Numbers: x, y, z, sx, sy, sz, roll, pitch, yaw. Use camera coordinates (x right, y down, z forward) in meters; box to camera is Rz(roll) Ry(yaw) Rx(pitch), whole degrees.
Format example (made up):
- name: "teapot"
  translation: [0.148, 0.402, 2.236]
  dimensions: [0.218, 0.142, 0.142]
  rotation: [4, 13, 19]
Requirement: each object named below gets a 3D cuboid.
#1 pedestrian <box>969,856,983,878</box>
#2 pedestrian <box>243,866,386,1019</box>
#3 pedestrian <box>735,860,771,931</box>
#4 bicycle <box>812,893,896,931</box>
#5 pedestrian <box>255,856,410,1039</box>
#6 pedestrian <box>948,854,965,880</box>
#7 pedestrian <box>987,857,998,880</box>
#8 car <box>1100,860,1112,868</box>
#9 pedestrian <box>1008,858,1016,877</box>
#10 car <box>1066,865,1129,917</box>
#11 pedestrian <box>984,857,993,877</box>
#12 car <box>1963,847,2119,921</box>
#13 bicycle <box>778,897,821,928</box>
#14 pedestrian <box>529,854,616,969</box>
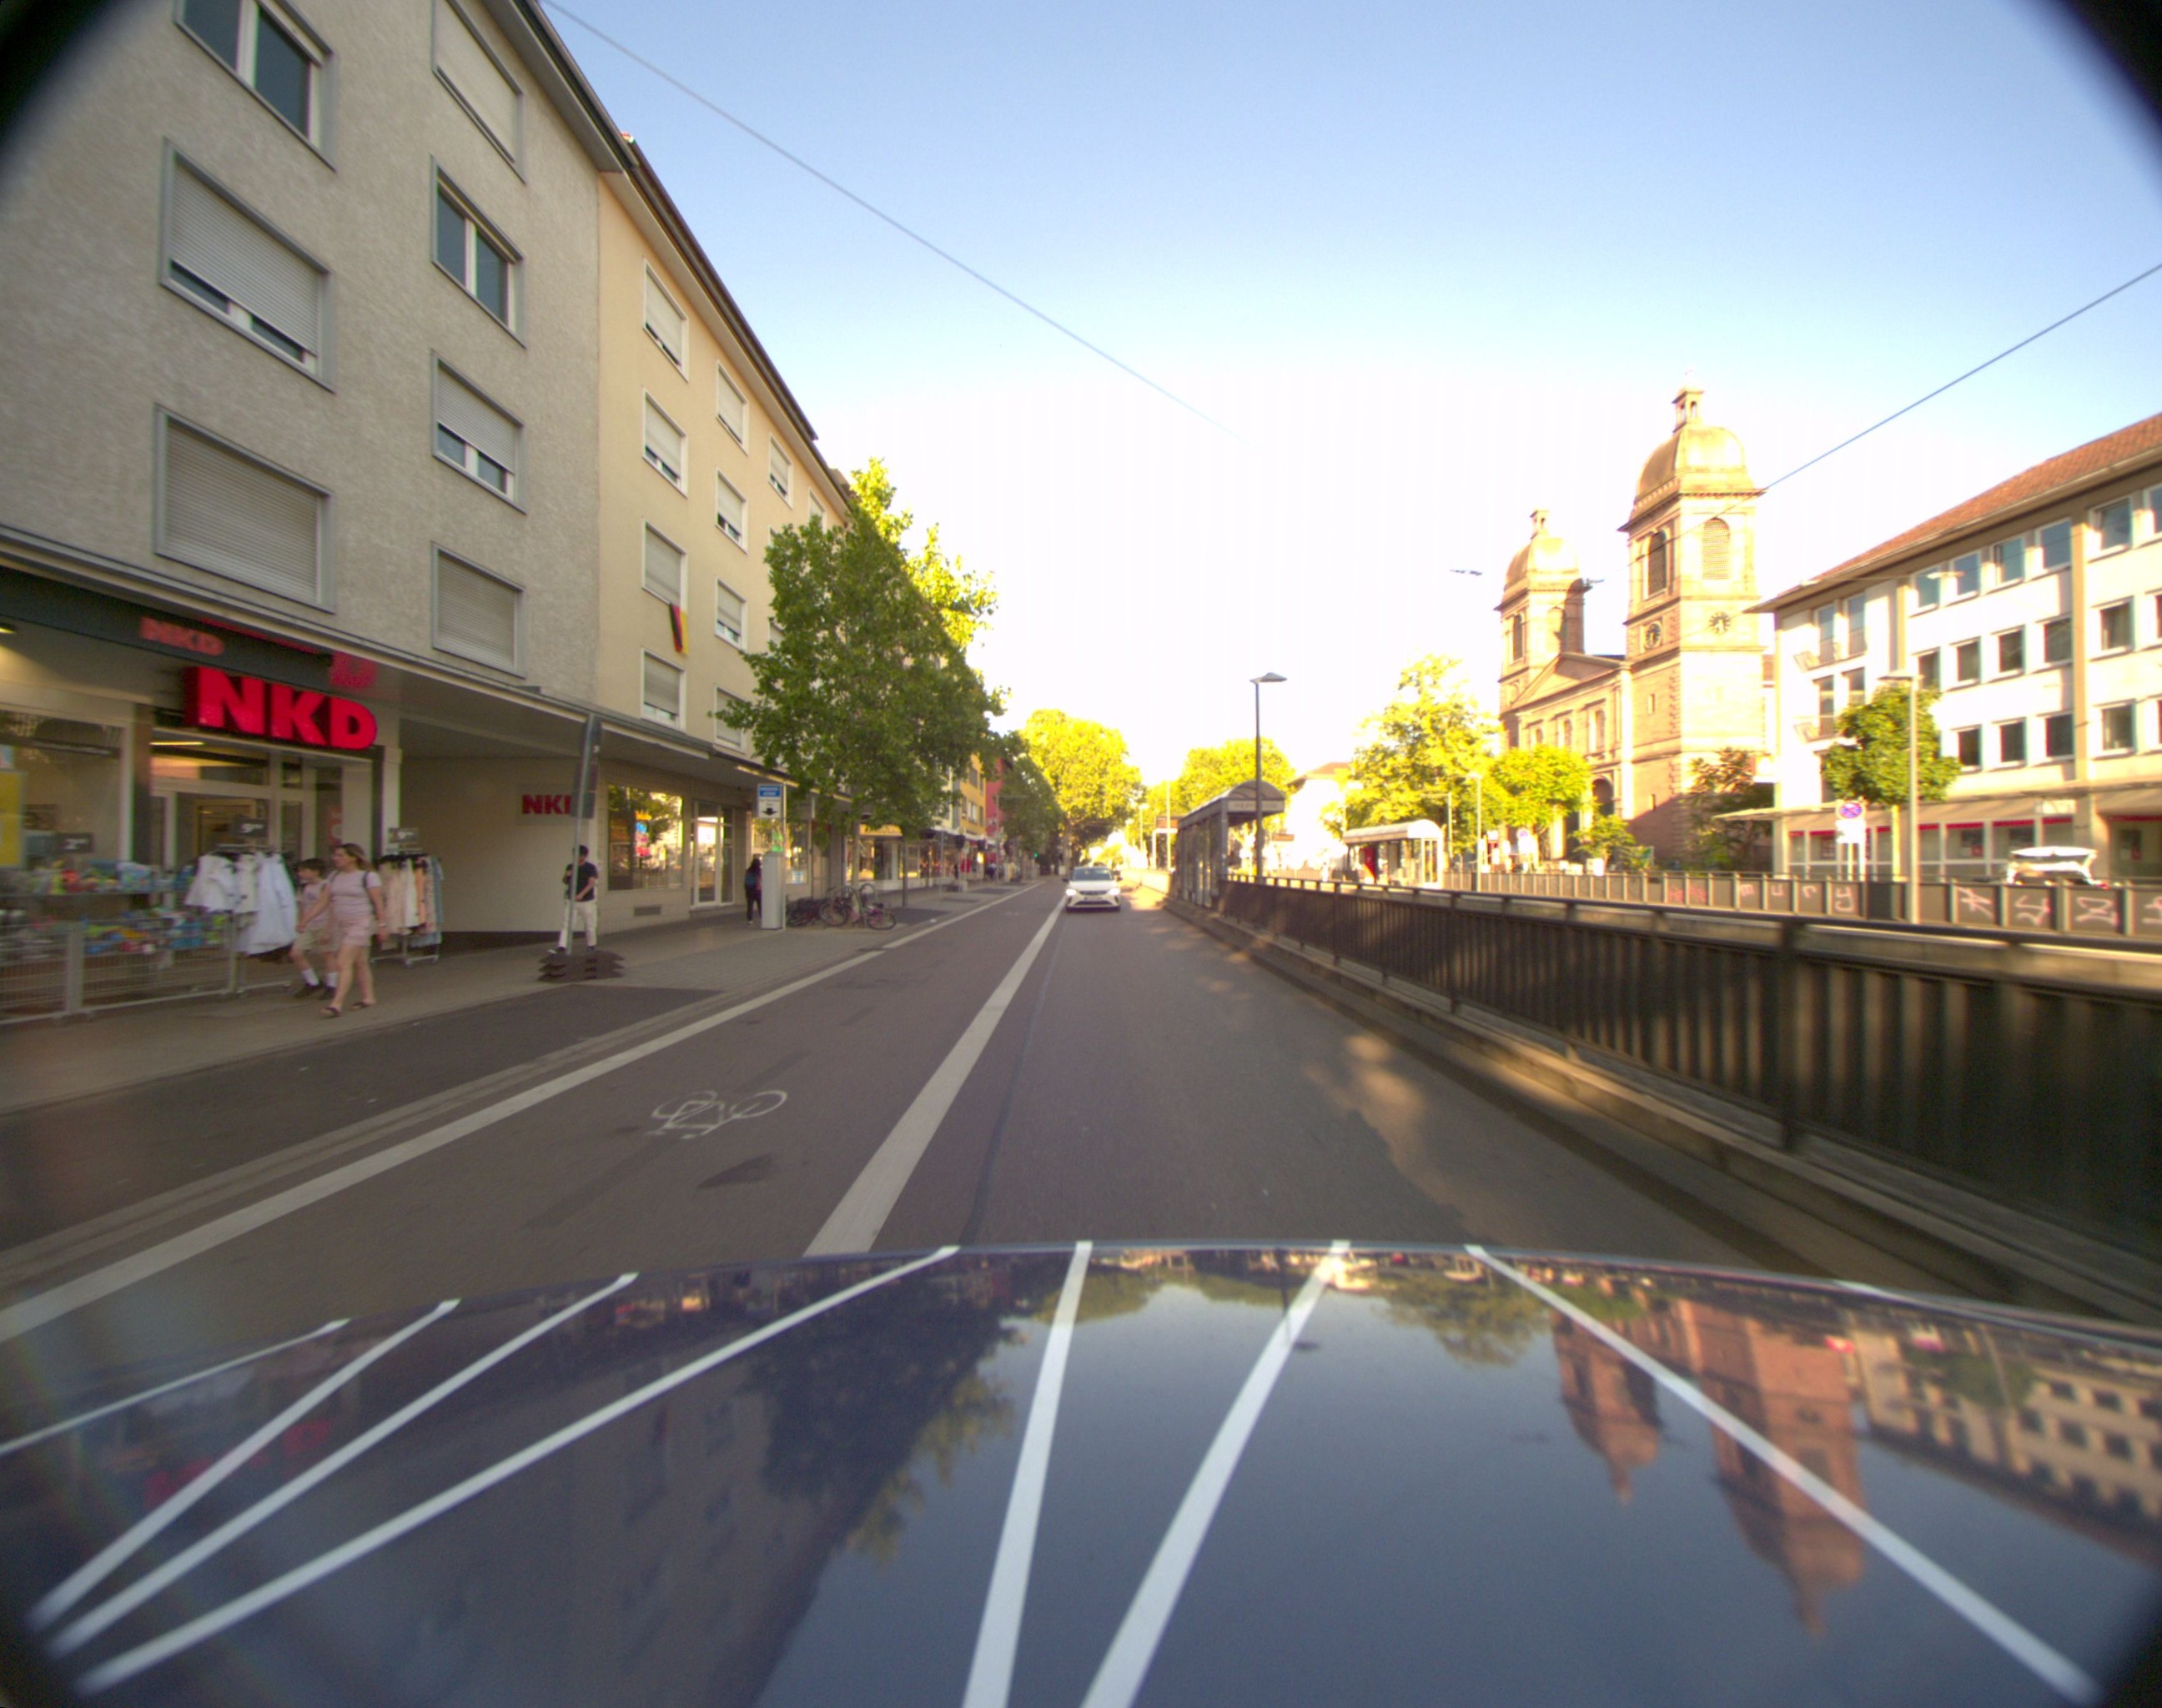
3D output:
- name: "pedestrian"
  translation: [-7.894, 0.967, 57.394]
  dimensions: [0.851, 1.645, 0.916]
  rotation: [-2, 1, 0]
- name: "pedestrian"
  translation: [-7.936, 0.877, 7.907]
  dimensions: [0.542, 1.493, 0.896]
  rotation: [1, 0, 0]
- name: "pedestrian"
  translation: [-7.417, 0.929, 17.205]
  dimensions: [0.490, 1.558, 0.648]
  rotation: [2, 0, 2]
- name: "bicycle"
  translation: [-5.127, 1.291, 17.183]
  dimensions: [1.763, 0.773, 0.702]
  rotation: [1, 0, -22]
- name: "pedestrian"
  translation: [-7.095, 0.842, 7.250]
  dimensions: [0.547, 1.619, 0.896]
  rotation: [1, 0, 0]
- name: "pedestrian"
  translation: [-8.093, 0.843, 49.356]
  dimensions: [0.851, 1.645, 0.916]
  rotation: [-2, 1, 0]
- name: "pedestrian"
  translation: [-6.677, 1.076, 57.170]
  dimensions: [0.693, 1.665, 0.659]
  rotation: [2, 0, 1]
- name: "car"
  translation: [4.642, 1.905, 140.817]
  dimensions: [1.719, 1.390, 3.998]
  rotation: [-2, 0, -4]
- name: "pedestrian"
  translation: [-5.981, 1.152, 65.844]
  dimensions: [0.634, 1.645, 0.651]
  rotation: [-2, 1, 0]
- name: "car"
  translation: [0.505, 1.099, 24.188]
  dimensions: [1.826, 1.433, 3.828]
  rotation: [-2, 0, 1]
- name: "pedestrian"
  translation: [-7.745, 1.113, 63.736]
  dimensions: [0.634, 1.645, 0.651]
  rotation: [-2, 1, 0]
- name: "car"
  translation: [22.988, 0.649, 18.364]
  dimensions: [1.739, 1.477, 4.008]
  rotation: [-2, 1, 43]
- name: "bicycle"
  translation: [-6.397, 1.303, 17.208]
  dimensions: [0.840, 0.569, 1.757]
  rotation: [0, -1, -22]
- name: "pedestrian"
  translation: [-7.738, 0.837, 11.609]
  dimensions: [0.569, 1.665, 1.070]
  rotation: [2, 0, 1]
